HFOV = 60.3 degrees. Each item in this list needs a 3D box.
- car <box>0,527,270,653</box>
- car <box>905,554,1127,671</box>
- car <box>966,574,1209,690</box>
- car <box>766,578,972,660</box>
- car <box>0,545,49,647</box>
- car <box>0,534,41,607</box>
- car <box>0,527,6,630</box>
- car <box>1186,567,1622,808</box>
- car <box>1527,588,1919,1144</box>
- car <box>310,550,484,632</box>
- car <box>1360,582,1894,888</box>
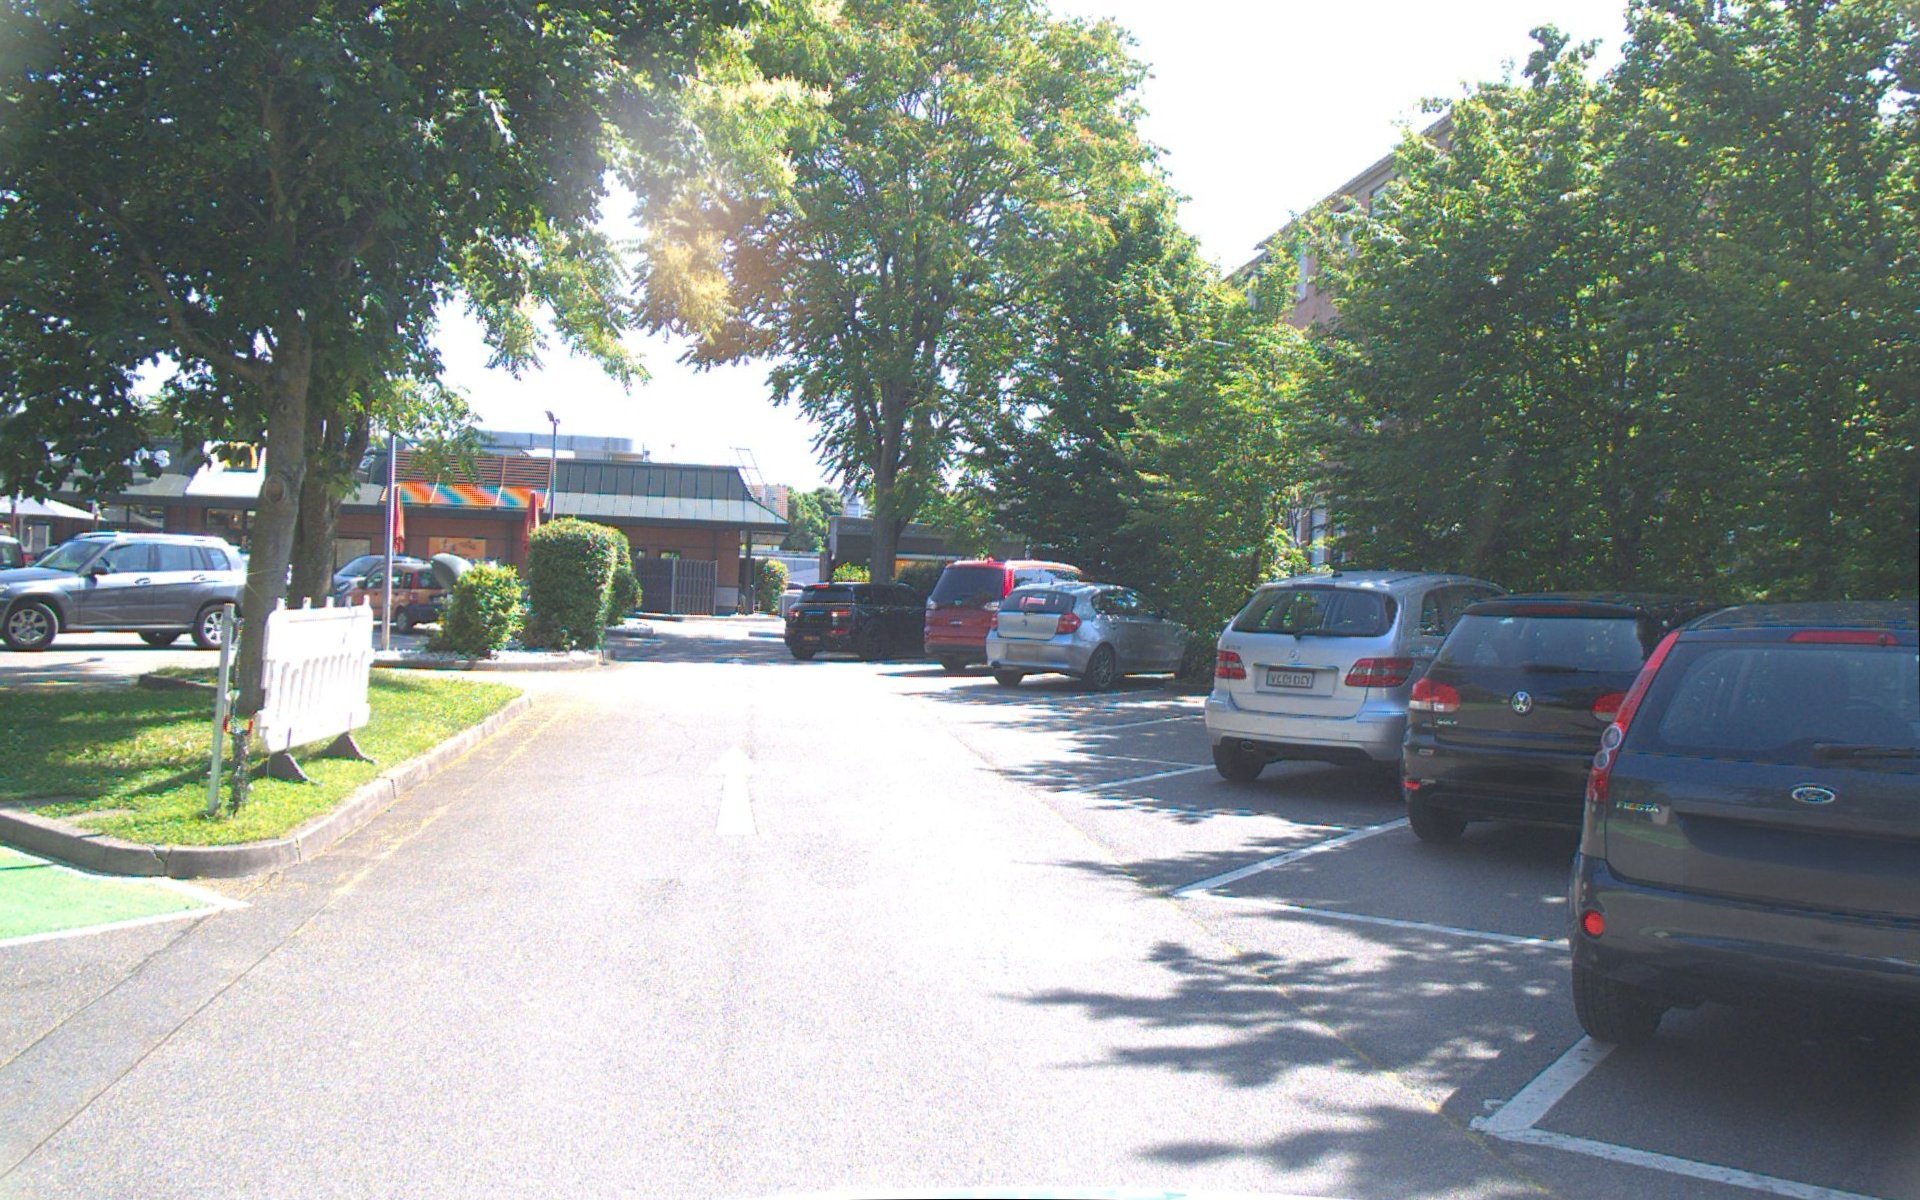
[{"bbox_3d":[-12.814,-0.141,24.641,1.825,1.715,4.351,3,0,35],"label":"car"},{"bbox_3d":[0.992,0.185,27.169,1.738,1.765,3.985,-1,0,35],"label":"car"},{"bbox_3d":[1.914,0.407,23.770,1.738,1.501,3.987,1,0,34],"label":"car"},{"bbox_3d":[-1.642,0.354,31.005,1.739,1.413,3.984,1,0,36],"label":"car"},{"bbox_3d":[-15.828,-0.124,24.151,1.825,1.517,4.024,3,0,35],"label":"car"},{"bbox_3d":[-22.481,-0.725,36.964,4.061,1.579,1.913,3,1,37],"label":"car"},{"bbox_3d":[-17.931,-0.426,26.406,1.826,1.715,4.295,3,0,36],"label":"car"},{"bbox_3d":[3.651,0.583,13.162,1.743,1.599,3.976,2,1,42],"label":"car"},{"bbox_3d":[3.704,0.711,6.093,1.674,1.478,3.977,1,1,41],"label":"car"},{"bbox_3d":[-13.098,-0.257,38.385,4.285,1.715,1.853,3,3,39],"label":"car"},{"bbox_3d":[4.253,0.646,10.211,1.744,1.495,3.973,1,1,43],"label":"car"}]
